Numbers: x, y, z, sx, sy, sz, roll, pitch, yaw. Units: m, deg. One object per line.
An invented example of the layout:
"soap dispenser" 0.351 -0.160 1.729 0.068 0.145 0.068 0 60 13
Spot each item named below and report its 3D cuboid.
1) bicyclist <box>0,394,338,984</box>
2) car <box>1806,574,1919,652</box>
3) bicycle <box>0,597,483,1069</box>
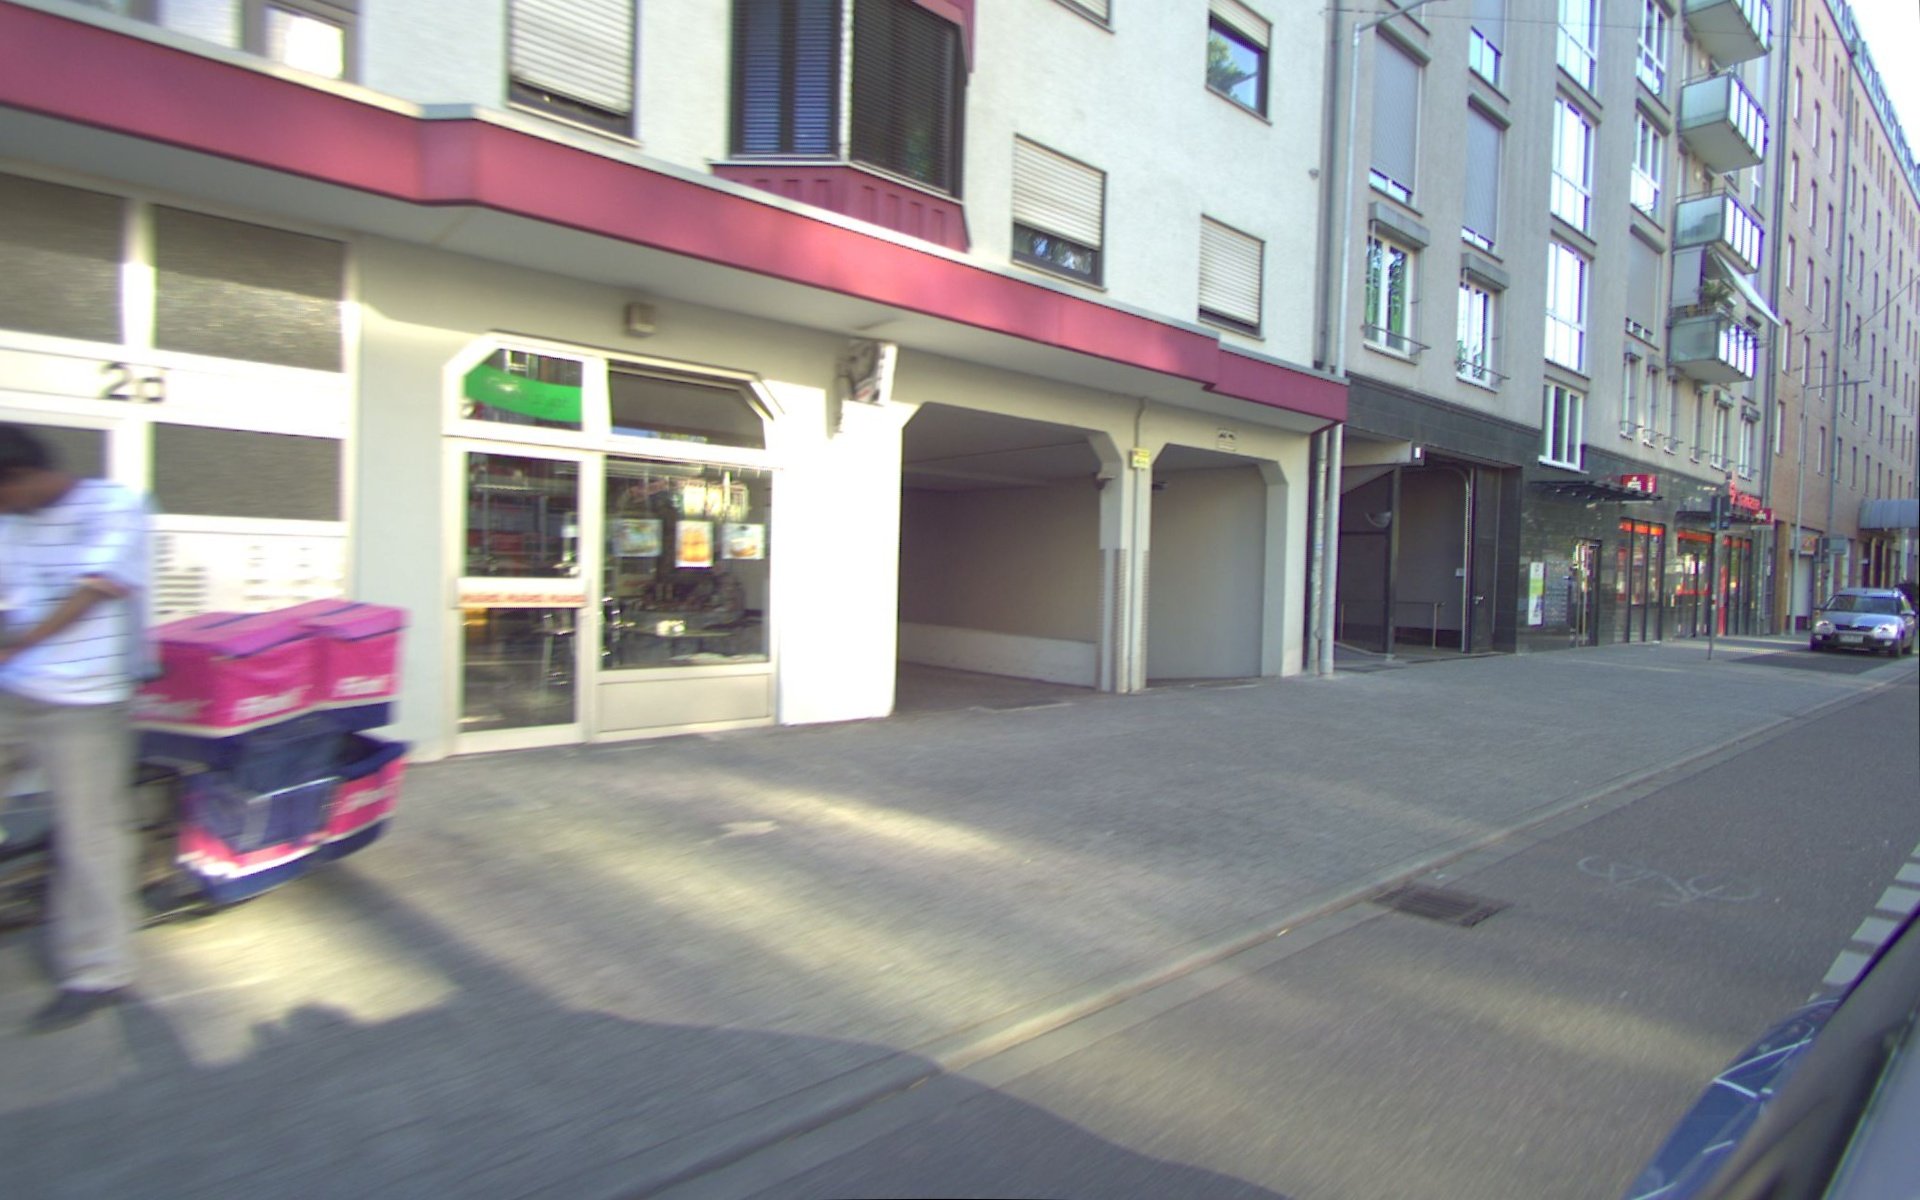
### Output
"bicyclist" -2.907 0.209 3.309 1.044 1.559 1.075 2 2 13
"car" 22.369 0.256 24.687 4.208 1.642 1.838 0 5 -40
"bicycle" -2.900 0.633 3.432 0.948 1.198 2.589 2 2 12
